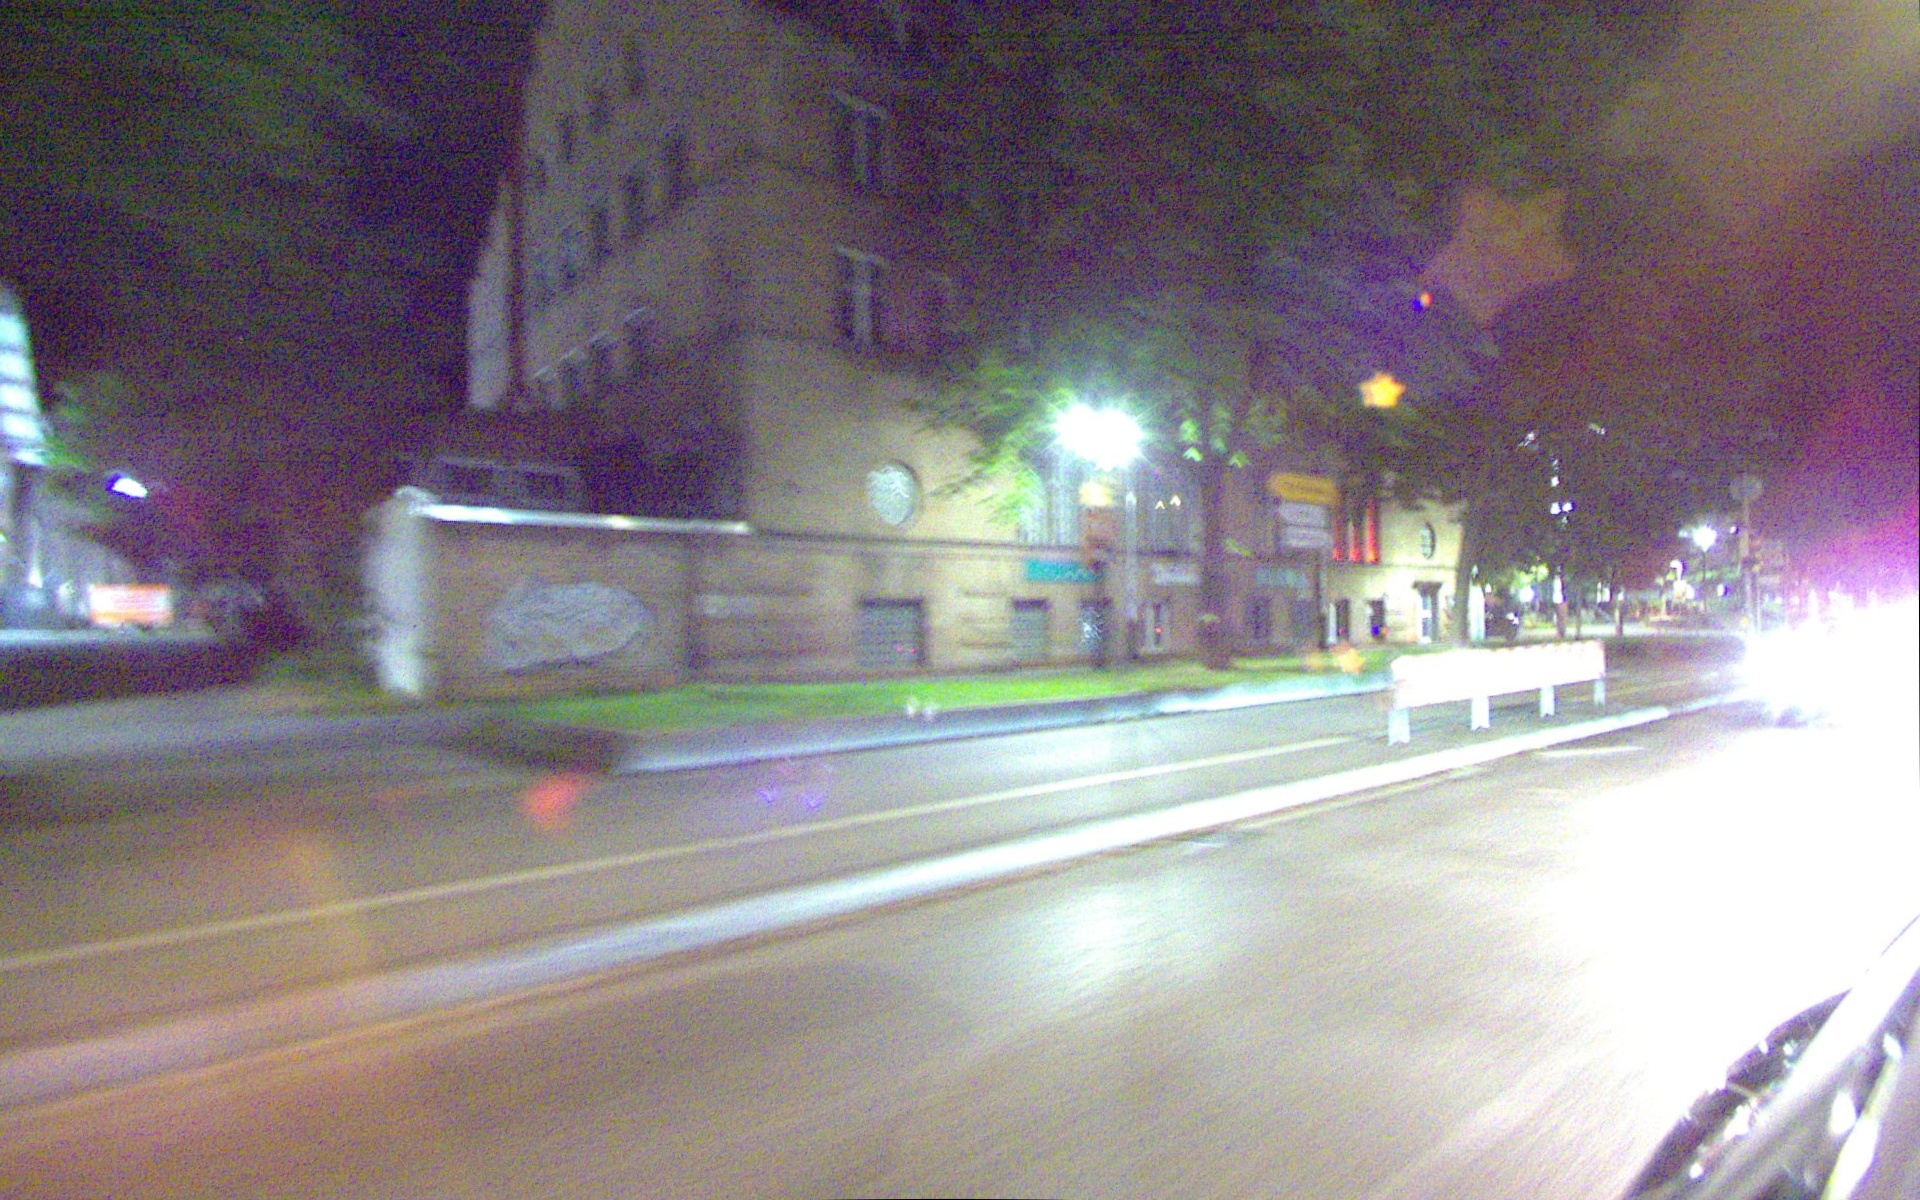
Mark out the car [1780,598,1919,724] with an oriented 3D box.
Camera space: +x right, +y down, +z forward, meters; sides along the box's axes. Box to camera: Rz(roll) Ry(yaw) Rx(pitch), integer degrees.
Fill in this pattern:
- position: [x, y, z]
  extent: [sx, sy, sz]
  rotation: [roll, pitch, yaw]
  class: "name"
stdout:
- position: [12.241, 0.716, 13.273]
  extent: [3.773, 1.457, 1.632]
  rotation: [0, -2, -41]
  class: "car"
